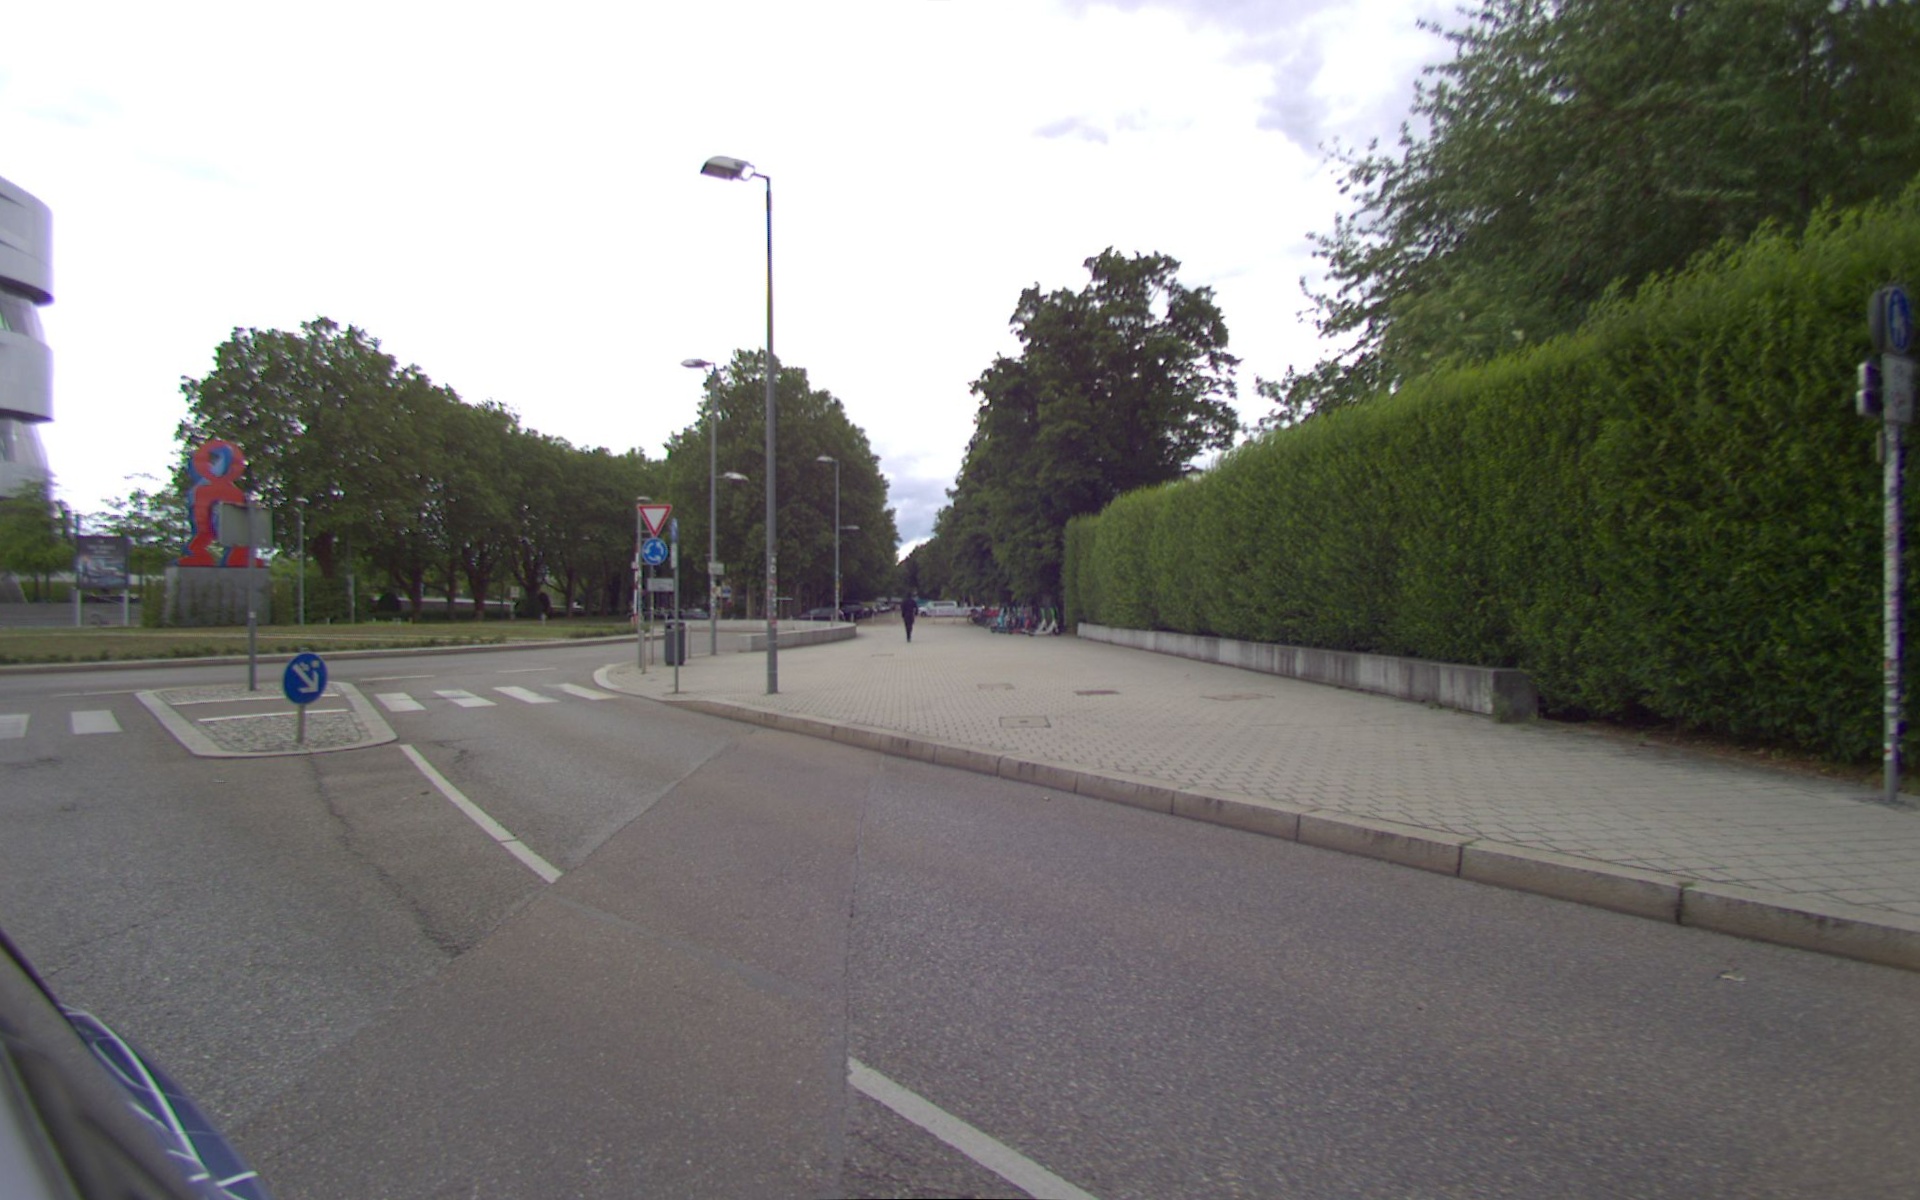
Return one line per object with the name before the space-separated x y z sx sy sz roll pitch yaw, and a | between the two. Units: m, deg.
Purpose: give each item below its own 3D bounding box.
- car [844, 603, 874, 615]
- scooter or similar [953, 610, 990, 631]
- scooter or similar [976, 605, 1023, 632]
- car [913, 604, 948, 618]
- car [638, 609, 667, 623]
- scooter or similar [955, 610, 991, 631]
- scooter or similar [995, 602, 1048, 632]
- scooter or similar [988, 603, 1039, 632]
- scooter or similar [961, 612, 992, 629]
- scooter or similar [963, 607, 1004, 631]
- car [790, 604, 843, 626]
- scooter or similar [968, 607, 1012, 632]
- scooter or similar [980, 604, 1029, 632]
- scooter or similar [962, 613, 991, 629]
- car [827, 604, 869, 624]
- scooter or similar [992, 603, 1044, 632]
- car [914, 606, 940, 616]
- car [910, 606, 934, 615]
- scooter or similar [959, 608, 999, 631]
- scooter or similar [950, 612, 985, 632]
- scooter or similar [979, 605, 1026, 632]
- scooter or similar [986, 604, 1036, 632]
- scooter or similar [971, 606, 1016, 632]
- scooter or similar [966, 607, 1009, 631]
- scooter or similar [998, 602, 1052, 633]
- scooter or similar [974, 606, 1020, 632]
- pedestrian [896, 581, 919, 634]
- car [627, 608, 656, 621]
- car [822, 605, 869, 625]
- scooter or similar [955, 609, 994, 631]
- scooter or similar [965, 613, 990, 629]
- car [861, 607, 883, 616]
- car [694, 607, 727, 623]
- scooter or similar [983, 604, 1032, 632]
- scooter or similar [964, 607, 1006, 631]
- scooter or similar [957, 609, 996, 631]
car | -14.831 1.349 148.670 4.365 1.746 1.800 -1 -2 -9
scooter or similar | 0.626 1.107 55.437 1.945 1.117 0.641 -1 -2 -6
scooter or similar | 1.732 0.811 44.162 1.945 1.117 0.641 -1 -2 -6
car | -3.748 1.343 127.876 4.368 1.664 1.799 -1 -2 -6
car | -42.035 2.133 138.327 3.407 1.863 1.685 0 0 5
scooter or similar | 0.746 1.137 56.768 1.945 1.117 0.641 -1 -2 -6
scooter or similar | 2.354 0.671 38.899 1.945 1.117 0.641 -1 -2 -6
scooter or similar | 2.143 0.709 40.425 1.945 1.117 0.641 -1 -2 -6
scooter or similar | 1.107 1.414 68.352 1.945 1.117 0.641 -1 -2 -6
scooter or similar | 1.140 0.944 49.372 1.945 1.117 0.641 -1 -2 -6
car | -10.638 1.131 75.053 3.767 1.536 1.781 -1 -2 -5
scooter or similar | 1.381 0.893 47.232 1.945 1.117 0.641 -1 -2 -6
scooter or similar | 1.871 0.765 42.588 1.945 1.117 0.641 -1 -2 -6
scooter or similar | 1.152 1.461 70.441 1.945 1.117 0.641 -1 -2 -6
car | -10.302 1.292 93.203 3.657 1.791 1.671 -1 -2 -2
scooter or similar | 2.258 0.696 39.698 1.945 1.117 0.641 -1 -2 -6
car | -5.755 1.907 175.663 4.365 1.664 1.800 -1 -2 -9
car | -7.439 2.118 196.403 4.365 1.664 1.800 -1 -2 -9
scooter or similar | 0.953 0.998 50.812 1.945 1.117 0.641 -1 -2 -6
scooter or similar | 0.444 1.306 59.907 1.945 1.117 0.641 -1 -2 -6
scooter or similar | 1.813 0.785 43.356 1.945 1.117 0.641 -1 -2 -6
scooter or similar | 2.060 0.732 41.186 1.945 1.117 0.641 -1 -2 -6
scooter or similar | 1.511 0.858 45.879 1.945 1.117 0.641 -1 -2 -6
scooter or similar | 1.297 0.912 47.938 1.945 1.117 0.641 -1 -2 -6
scooter or similar | 2.442 0.648 38.058 1.945 1.117 0.641 -1 -2 -6
scooter or similar | 1.628 0.844 45.028 1.945 1.117 0.641 -1 -2 -6
pedestrian | -1.853 0.282 35.495 0.781 1.821 0.866 -1 -2 -4
car | -42.122 1.915 134.028 3.397 1.697 1.690 0 0 -5
car | -10.978 1.437 97.048 4.368 1.746 1.799 -1 -2 -6
scooter or similar | 0.771 1.054 53.424 1.945 1.117 0.641 -1 -2 -6
scooter or similar | 1.272 1.554 73.834 1.782 1.103 0.546 -1 -2 -6
car | -17.888 2.293 205.545 4.365 1.830 1.800 -1 -2 -9
car | -30.023 1.812 121.796 3.657 1.791 1.671 -1 -2 -2
scooter or similar | 1.968 0.755 41.883 1.945 1.117 0.641 -1 -2 -6
scooter or similar | 1.210 0.926 48.646 1.945 1.117 0.641 -1 -2 -6
scooter or similar | 0.850 1.031 52.537 1.945 1.117 0.641 -1 -2 -6
